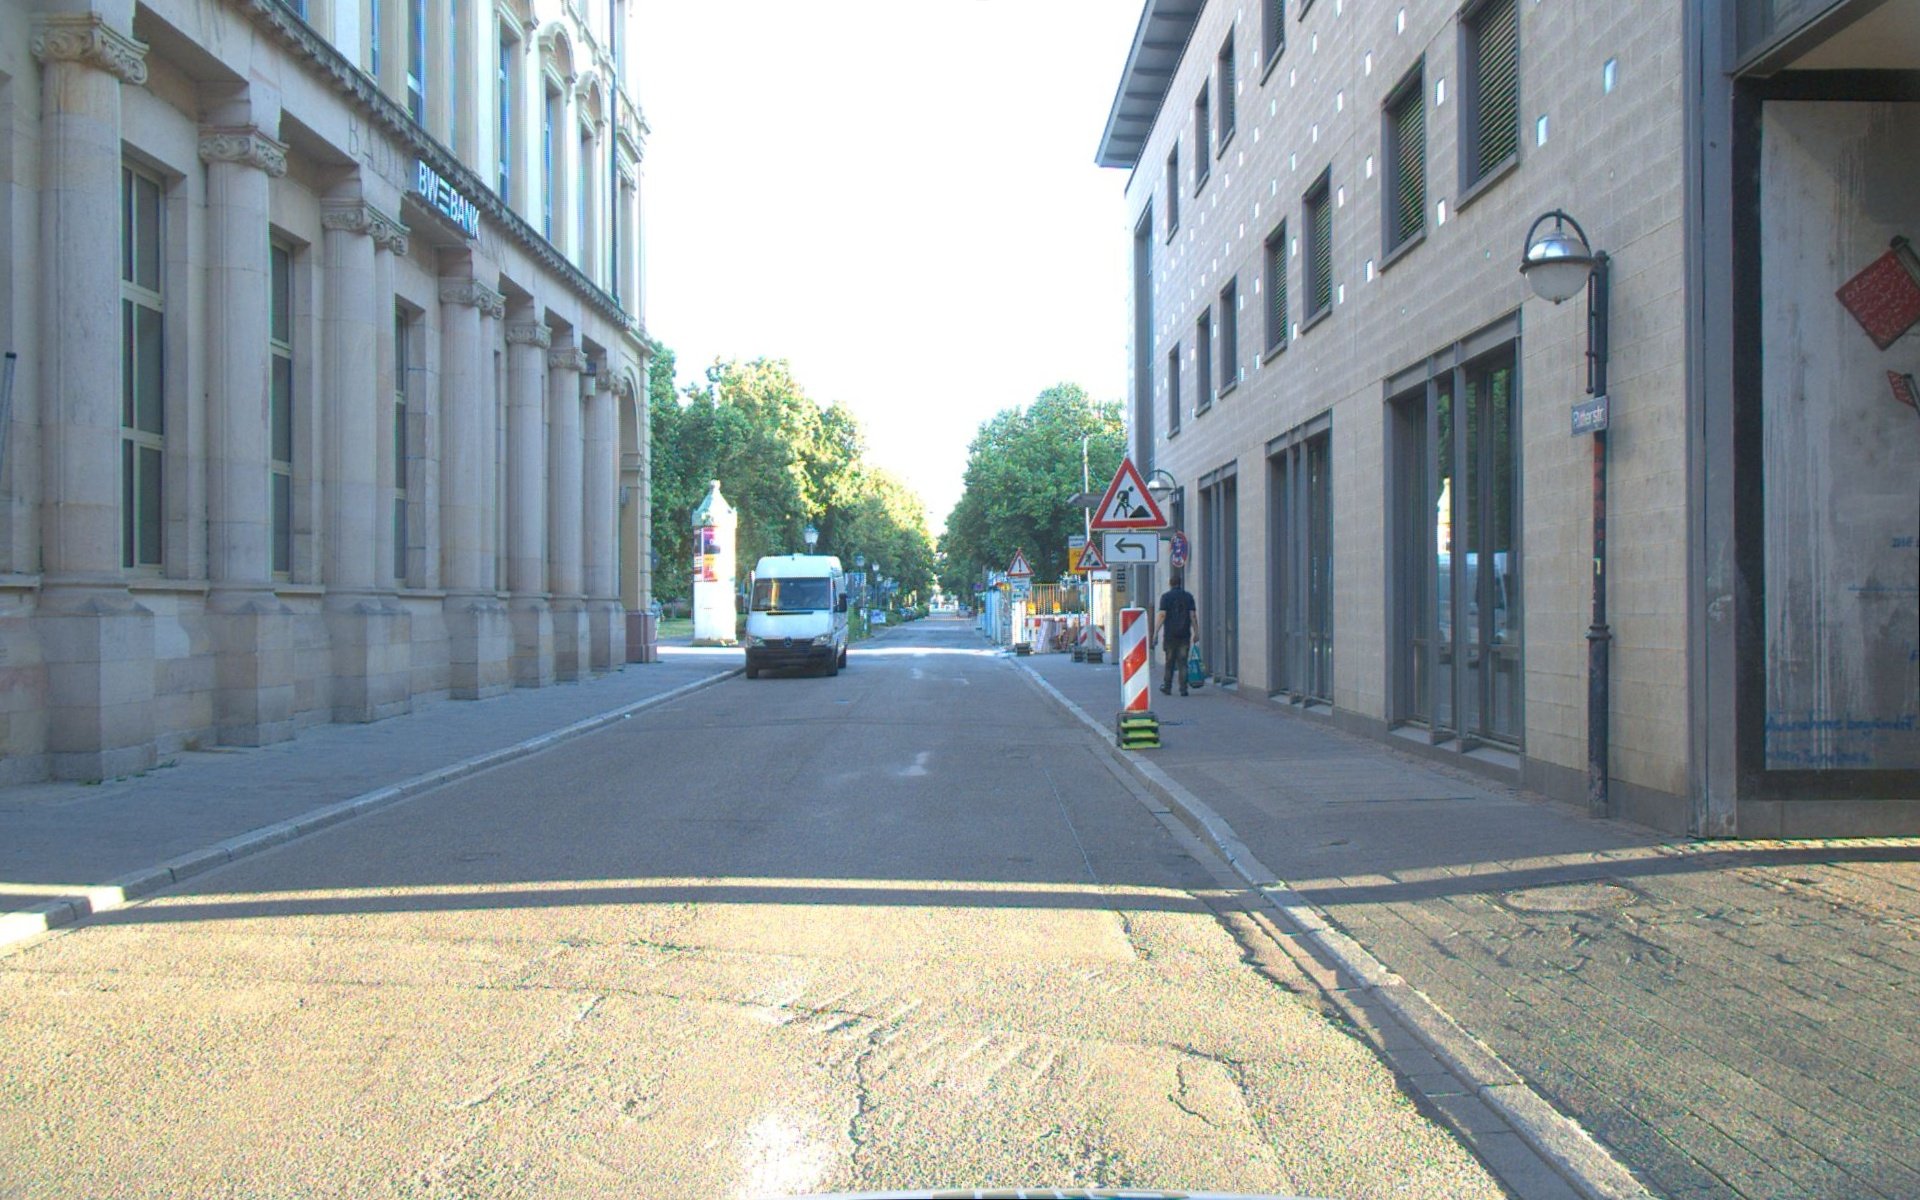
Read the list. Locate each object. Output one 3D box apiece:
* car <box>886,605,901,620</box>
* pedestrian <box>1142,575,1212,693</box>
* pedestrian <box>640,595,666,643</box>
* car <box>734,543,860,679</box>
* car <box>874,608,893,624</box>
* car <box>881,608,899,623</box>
[{"bbox_3d":[-6.500,1.229,161.626,1.438,1.429,3.678,0,0,-1],"label":"car"},{"bbox_3d":[3.293,0.511,25.143,0.904,1.732,0.868,-1,0,-1],"label":"pedestrian"},{"bbox_3d":[-11.267,0.685,60.676,0.730,1.732,0.703,-1,0,6],"label":"pedestrian"},{"bbox_3d":[-3.424,0.215,36.045,1.955,2.555,6.469,-4,0,0],"label":"car"},{"bbox_3d":[-6.273,1.335,136.145,1.438,1.278,3.678,0,0,-1],"label":"car"},{"bbox_3d":[-6.269,1.371,148.543,1.438,1.278,3.678,0,0,-1],"label":"car"}]
